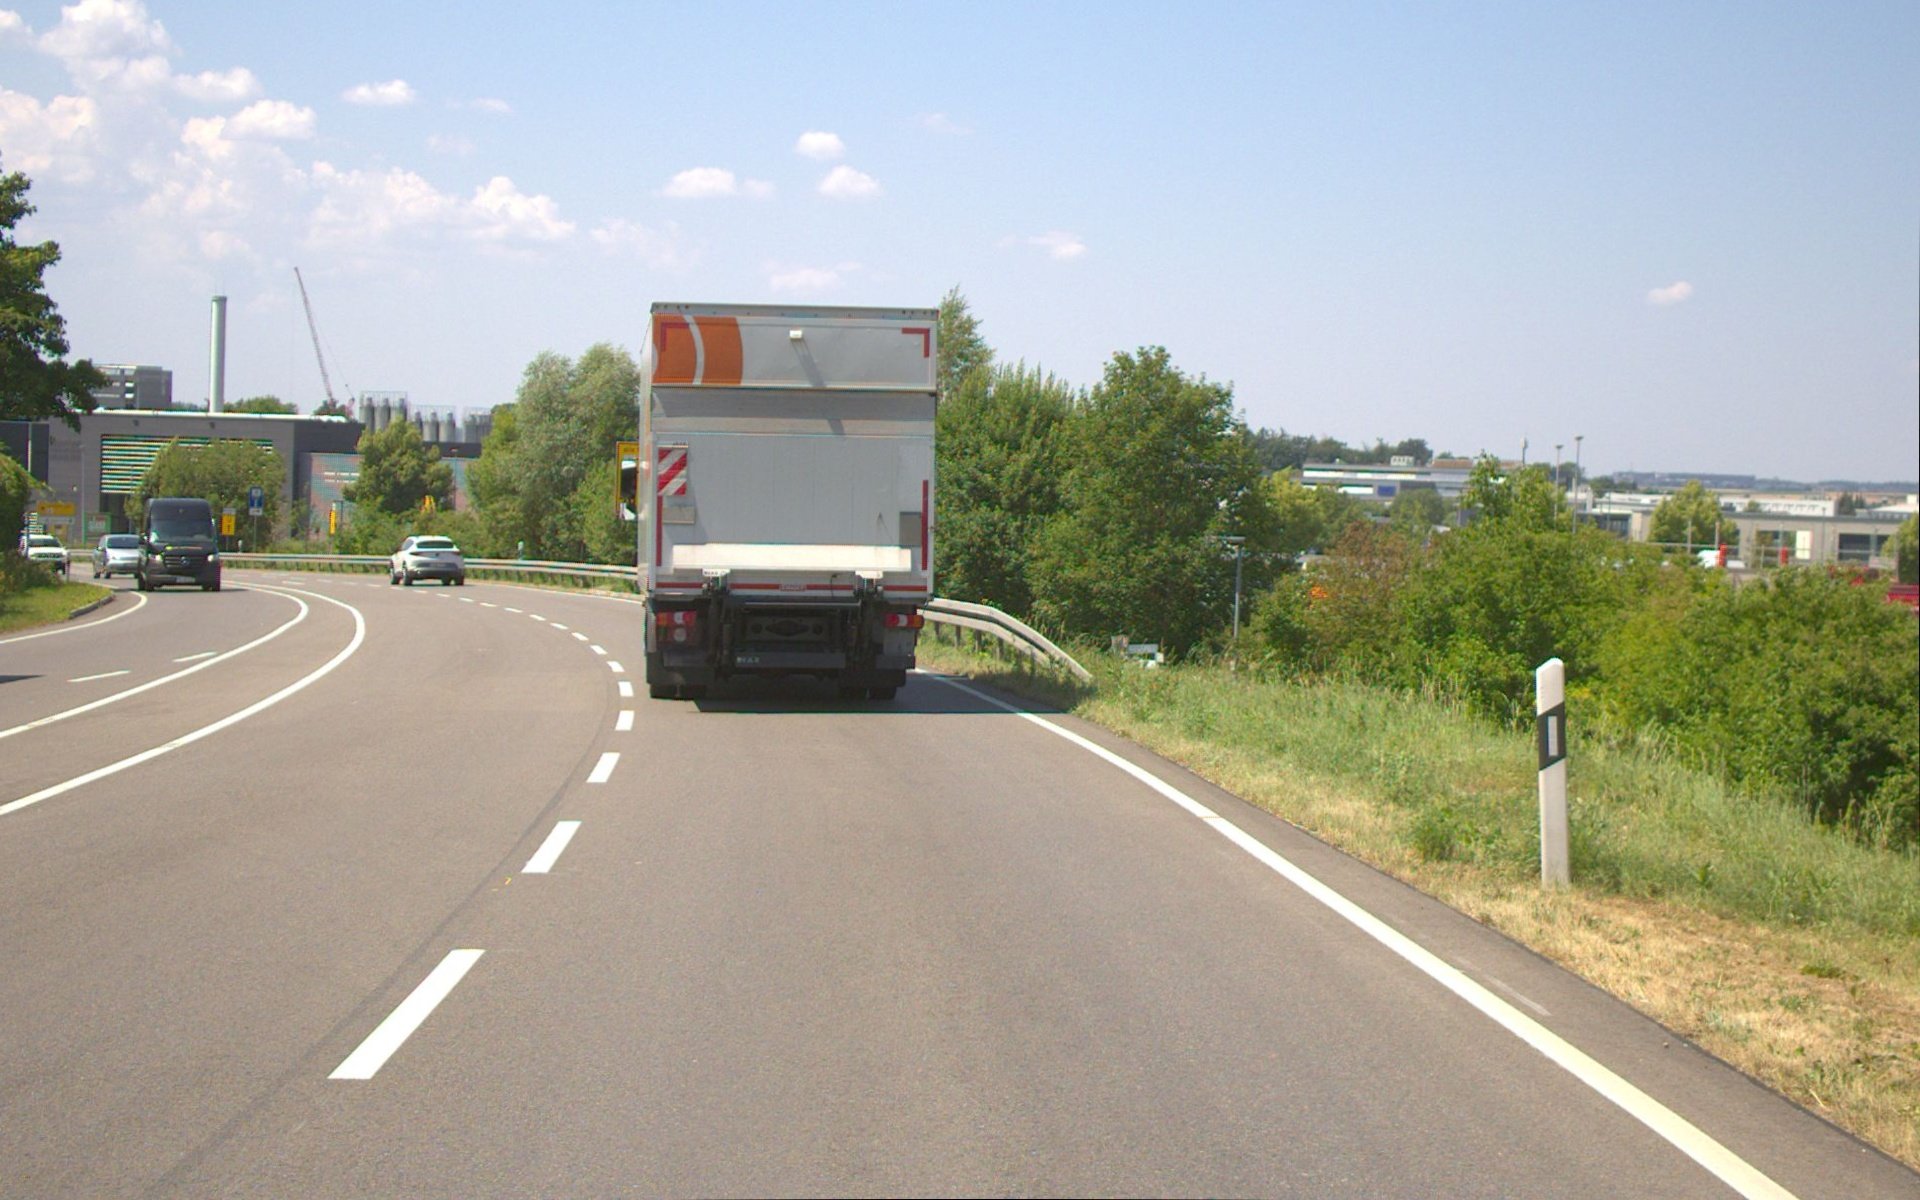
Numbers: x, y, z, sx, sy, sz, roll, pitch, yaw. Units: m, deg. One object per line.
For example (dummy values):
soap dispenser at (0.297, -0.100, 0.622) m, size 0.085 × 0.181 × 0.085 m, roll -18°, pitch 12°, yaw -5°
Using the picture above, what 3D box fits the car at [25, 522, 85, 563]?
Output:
car at (-36.917, -2.350, 140.198) m, size 1.993 × 1.623 × 4.198 m, roll 0°, pitch 1°, yaw -20°

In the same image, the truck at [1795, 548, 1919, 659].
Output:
truck at (35.347, 0.254, 124.128) m, size 9.403 × 3.671 × 3.126 m, roll 4°, pitch 3°, yaw 28°

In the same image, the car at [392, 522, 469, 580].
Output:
car at (-16.239, -1.483, 105.352) m, size 1.943 × 1.658 × 4.001 m, roll 3°, pitch 0°, yaw -13°

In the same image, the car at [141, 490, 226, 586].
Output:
car at (-21.530, -1.737, 95.480) m, size 2.187 × 2.532 × 6.039 m, roll 1°, pitch 1°, yaw -12°

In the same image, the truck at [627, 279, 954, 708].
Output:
truck at (-1.850, -1.052, 34.603) m, size 2.803 × 3.698 × 9.110 m, roll 1°, pitch 2°, yaw -5°

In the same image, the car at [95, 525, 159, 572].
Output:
car at (-30.499, -1.895, 125.763) m, size 1.836 × 1.587 × 4.818 m, roll 1°, pitch 1°, yaw -18°
